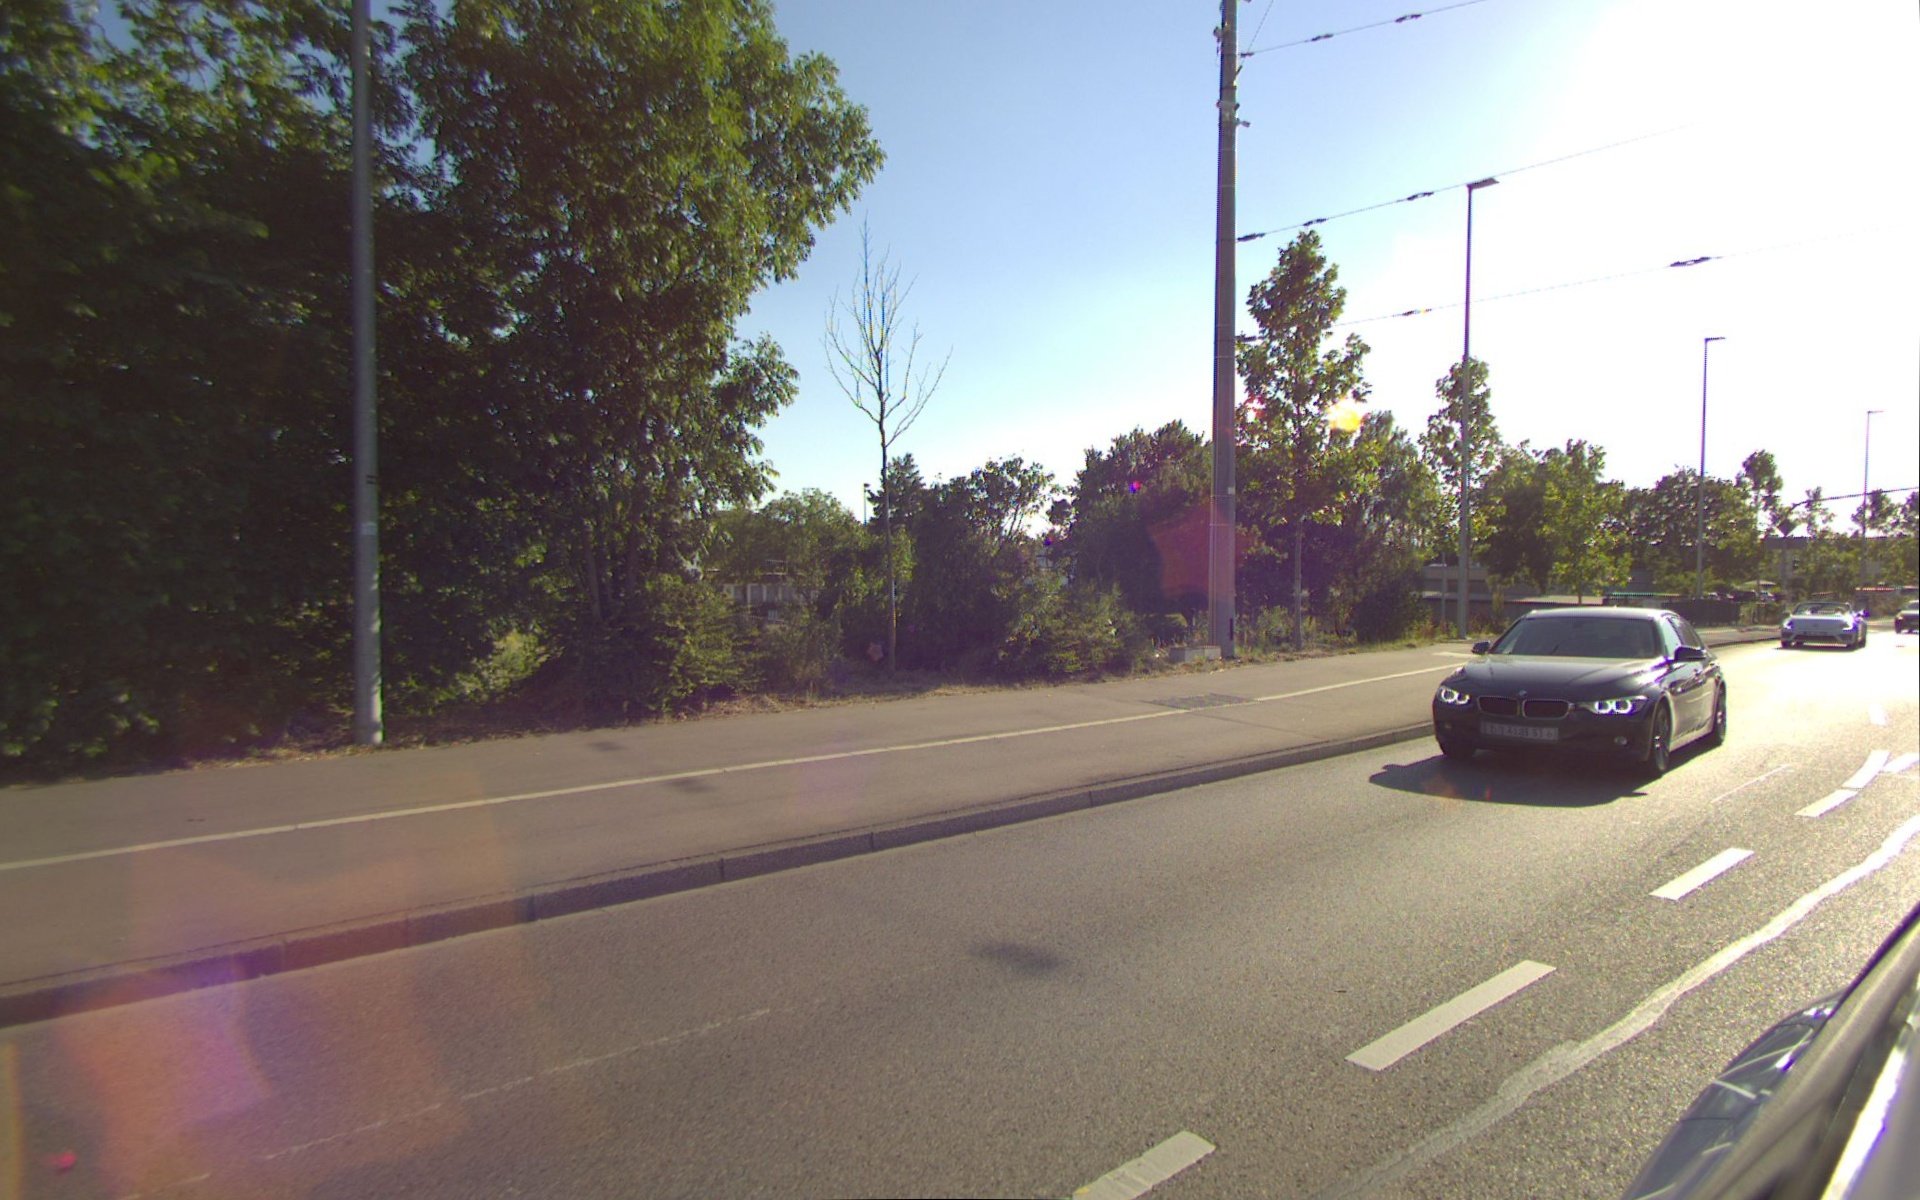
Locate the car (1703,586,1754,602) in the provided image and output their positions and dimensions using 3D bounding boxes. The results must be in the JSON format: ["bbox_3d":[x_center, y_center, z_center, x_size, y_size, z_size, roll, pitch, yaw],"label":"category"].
[{"bbox_3d":[80.465,-0.648,106.001,1.655,1.606,4.028,0,0,-39],"label":"car"}]

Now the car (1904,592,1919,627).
[{"bbox_3d":[43.578,0.402,44.869,3.924,1.530,1.742,0,0,-35],"label":"car"}]

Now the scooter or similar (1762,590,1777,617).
[{"bbox_3d":[38.816,0.167,48.504,0.523,1.246,1.249,2,2,40],"label":"scooter or similar"}]

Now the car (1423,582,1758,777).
[{"bbox_3d":[6.453,0.579,10.113,4.512,1.485,1.867,-1,1,-45],"label":"car"}]

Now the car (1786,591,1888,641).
[{"bbox_3d":[27.453,0.450,31.650,3.910,1.441,1.856,-1,1,-40],"label":"car"}]

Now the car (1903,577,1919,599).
[{"bbox_3d":[91.738,-1.137,94.331,2.066,2.048,5.348,0,0,-38],"label":"car"}]

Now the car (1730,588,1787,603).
[{"bbox_3d":[88.276,-0.478,111.966,1.825,1.589,4.658,0,0,-39],"label":"car"}]

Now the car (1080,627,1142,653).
[{"bbox_3d":[9.454,2.470,63.539,1.649,1.520,3.702,-1,0,-37],"label":"car"}]
